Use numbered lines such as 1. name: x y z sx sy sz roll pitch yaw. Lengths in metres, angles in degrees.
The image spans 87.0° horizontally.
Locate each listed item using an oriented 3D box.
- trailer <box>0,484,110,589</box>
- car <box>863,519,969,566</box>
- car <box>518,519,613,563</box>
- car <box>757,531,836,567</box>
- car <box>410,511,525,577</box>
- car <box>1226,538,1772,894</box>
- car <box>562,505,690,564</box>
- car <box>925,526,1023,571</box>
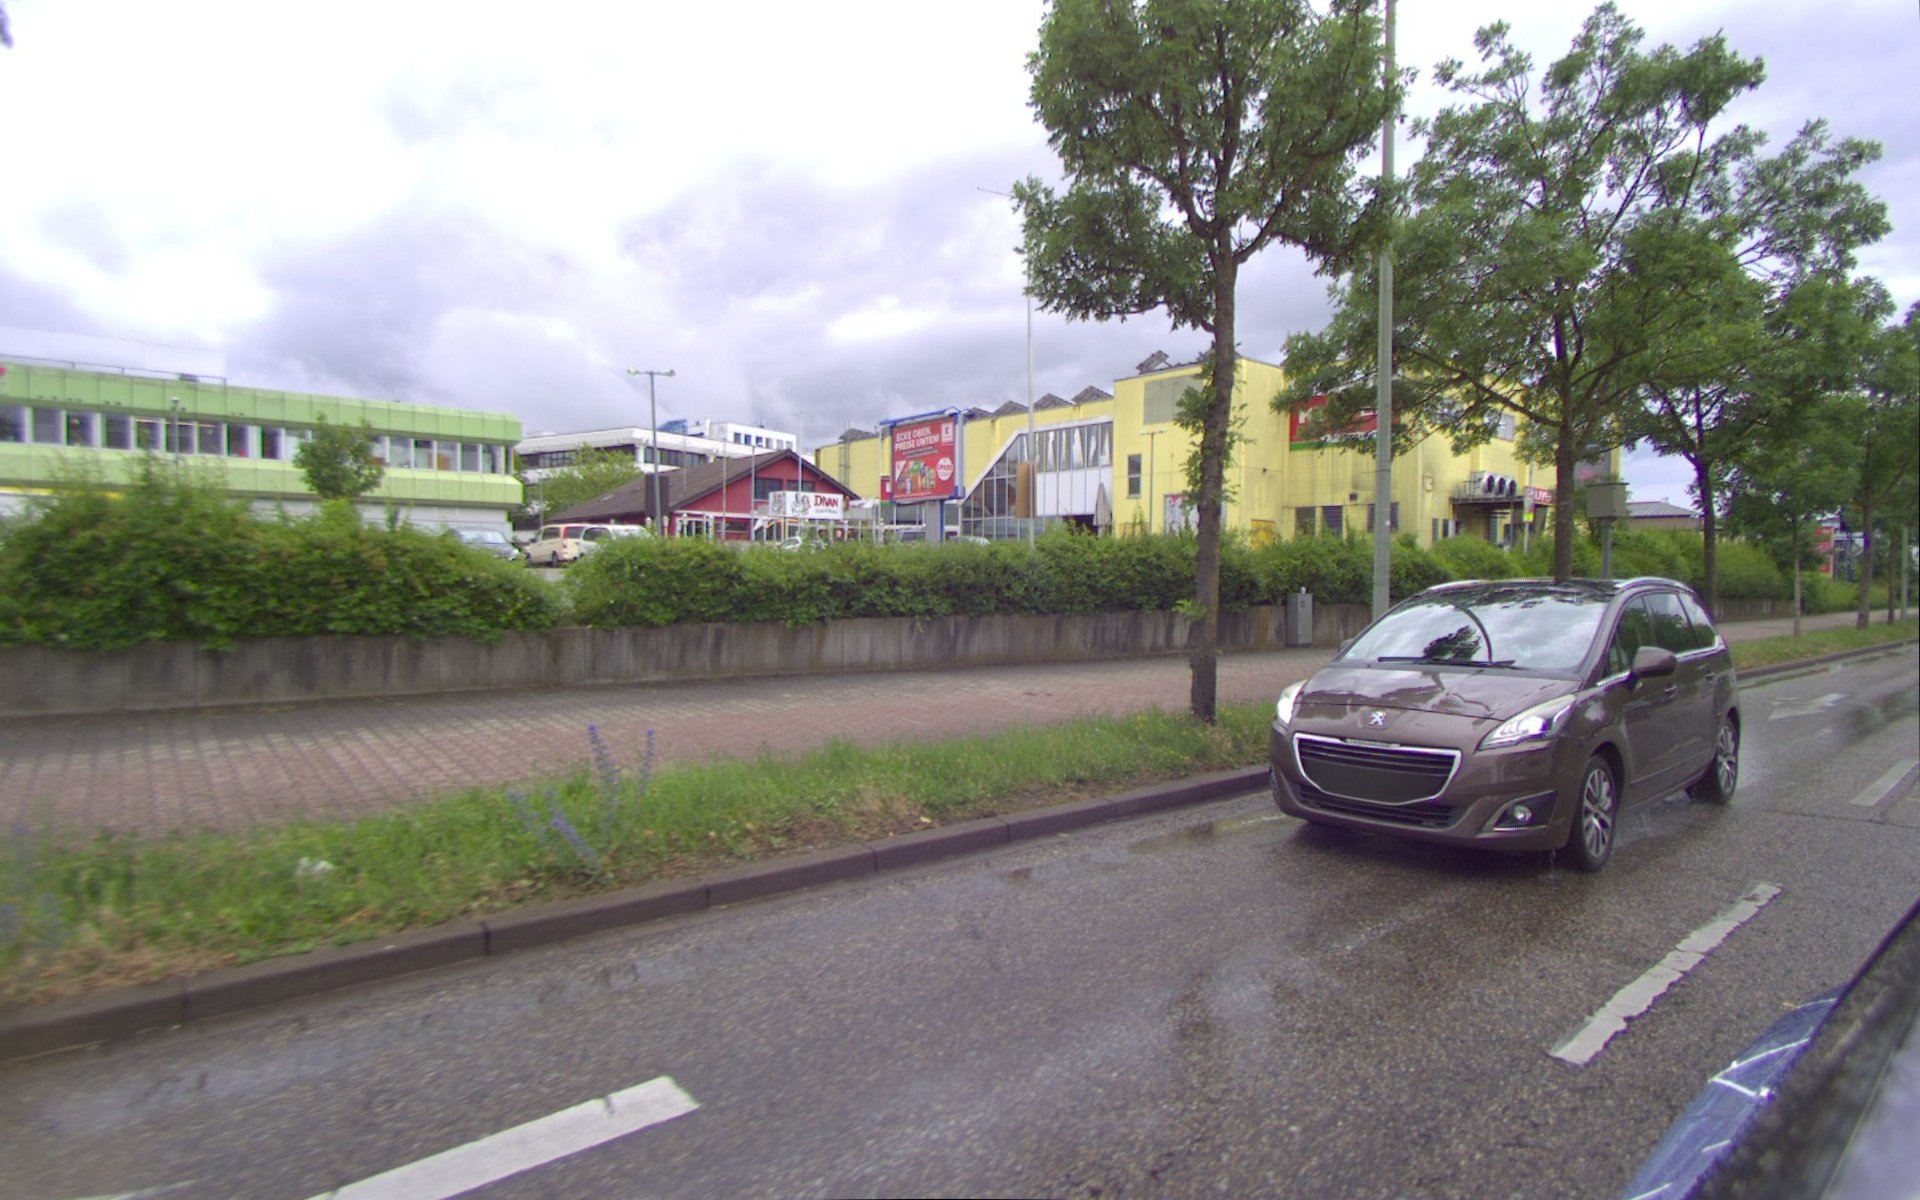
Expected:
1. trailer: -39.576 -2.447 35.705 14.548 3.764 3.157 1 -1 -40
2. car: -1.839 -2.278 40.948 1.965 1.760 4.378 0 2 -41
3. car: -17.521 -2.555 44.830 2.340 1.801 4.977 0 2 -41
4. car: -8.415 -2.581 51.754 1.965 1.760 4.378 0 2 -41
5. car: -14.911 -1.647 30.495 1.965 1.801 4.574 0 2 -41
6. car: 3.816 0.527 6.780 4.392 1.645 1.729 0 -1 -41
7. car: -11.341 -2.137 34.185 2.340 1.801 4.977 0 2 -41
8. car: 0.567 -2.160 42.905 1.965 1.801 3.994 0 2 -42
